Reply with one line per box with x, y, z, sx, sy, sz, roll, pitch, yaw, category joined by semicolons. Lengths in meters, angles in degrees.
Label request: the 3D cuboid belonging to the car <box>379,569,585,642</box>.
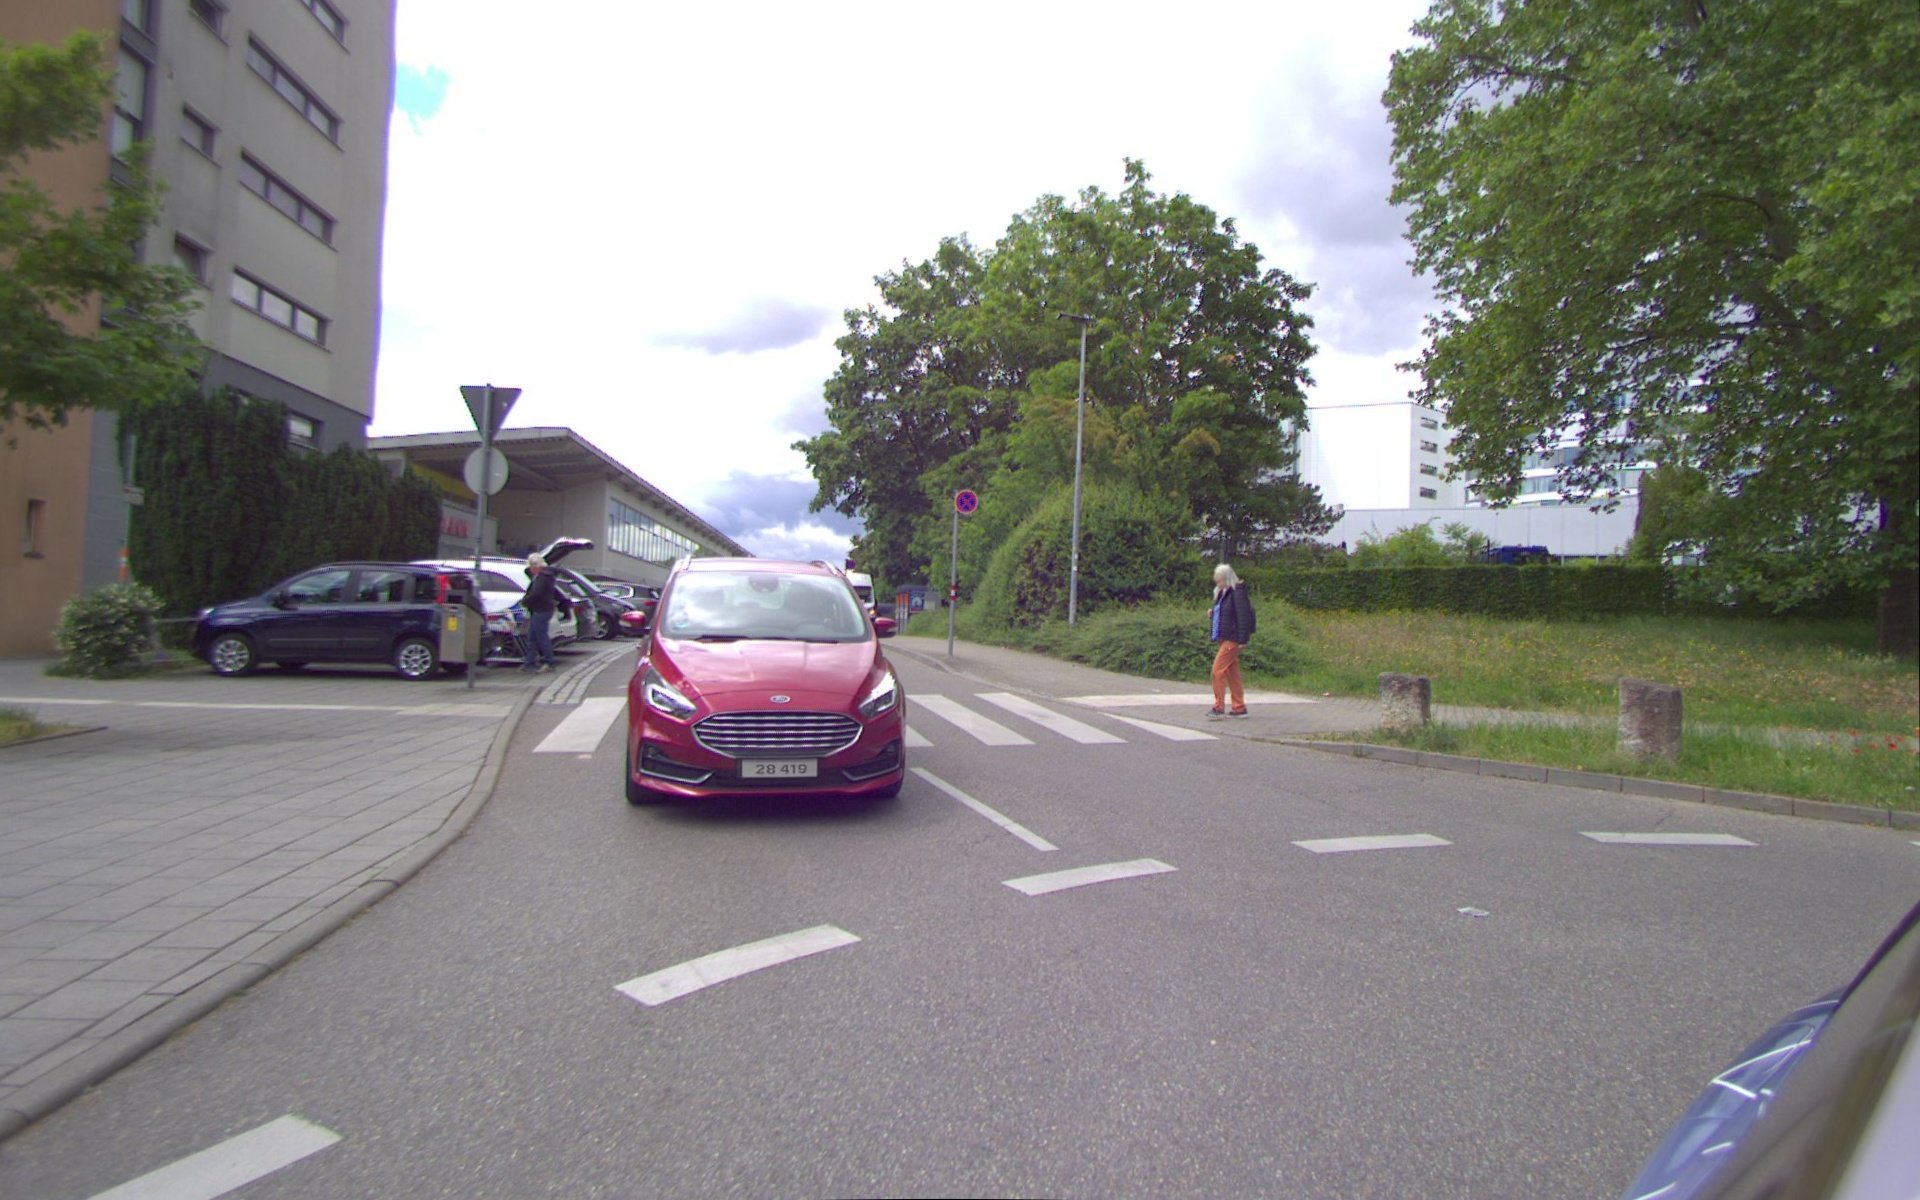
-10.211;0.094;21.844;3.701;1.500;1.644;0;1;-6;car

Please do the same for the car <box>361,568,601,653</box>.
-8.773;0.174;18.776;3.701;1.500;1.644;0;1;-6;car

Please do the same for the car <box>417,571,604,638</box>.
-10.465;0.099;23.767;3.701;1.500;1.644;0;1;-6;car

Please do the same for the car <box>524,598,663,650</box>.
-11.075;0.723;30.770;3.701;1.500;1.644;0;1;-6;car

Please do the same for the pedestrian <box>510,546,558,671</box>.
-6.346;0.128;15.104;0.475;1.836;0.583;0;-2;-4;pedestrian

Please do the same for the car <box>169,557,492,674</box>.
-8.459;0.187;13.841;3.455;1.494;1.507;0;1;-6;car

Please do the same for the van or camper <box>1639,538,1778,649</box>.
20.638;-0.120;28.141;2.091;2.834;4.443;0;-2;23;van or camper

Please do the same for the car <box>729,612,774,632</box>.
-15.590;1.667;75.797;3.232;1.407;1.512;0;1;-6;car

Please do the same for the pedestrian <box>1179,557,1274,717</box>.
2.903;0.384;11.070;0.824;1.685;0.615;0;3;-2;pedestrian

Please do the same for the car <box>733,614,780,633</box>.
-16.665;1.938;83.038;3.701;1.500;1.644;0;1;-6;car

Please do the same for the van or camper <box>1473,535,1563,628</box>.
18.142;-0.506;33.100;2.091;2.834;4.443;0;-2;23;van or camper

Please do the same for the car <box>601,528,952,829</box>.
-1.604;0.404;8.040;1.938;1.665;4.546;2;1;-15;car

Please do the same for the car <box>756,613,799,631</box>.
-16.368;1.976;91.057;3.701;1.462;1.644;0;1;-6;car

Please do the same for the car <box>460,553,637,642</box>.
-10.569;-0.038;26.243;3.897;2.188;1.832;0;-1;-6;car

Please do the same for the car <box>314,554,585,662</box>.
-8.334;0.119;16.766;3.701;1.679;1.575;0;1;-6;car

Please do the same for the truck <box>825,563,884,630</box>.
-4.556;-0.068;43.076;2.025;2.640;5.817;0;-1;-10;truck
